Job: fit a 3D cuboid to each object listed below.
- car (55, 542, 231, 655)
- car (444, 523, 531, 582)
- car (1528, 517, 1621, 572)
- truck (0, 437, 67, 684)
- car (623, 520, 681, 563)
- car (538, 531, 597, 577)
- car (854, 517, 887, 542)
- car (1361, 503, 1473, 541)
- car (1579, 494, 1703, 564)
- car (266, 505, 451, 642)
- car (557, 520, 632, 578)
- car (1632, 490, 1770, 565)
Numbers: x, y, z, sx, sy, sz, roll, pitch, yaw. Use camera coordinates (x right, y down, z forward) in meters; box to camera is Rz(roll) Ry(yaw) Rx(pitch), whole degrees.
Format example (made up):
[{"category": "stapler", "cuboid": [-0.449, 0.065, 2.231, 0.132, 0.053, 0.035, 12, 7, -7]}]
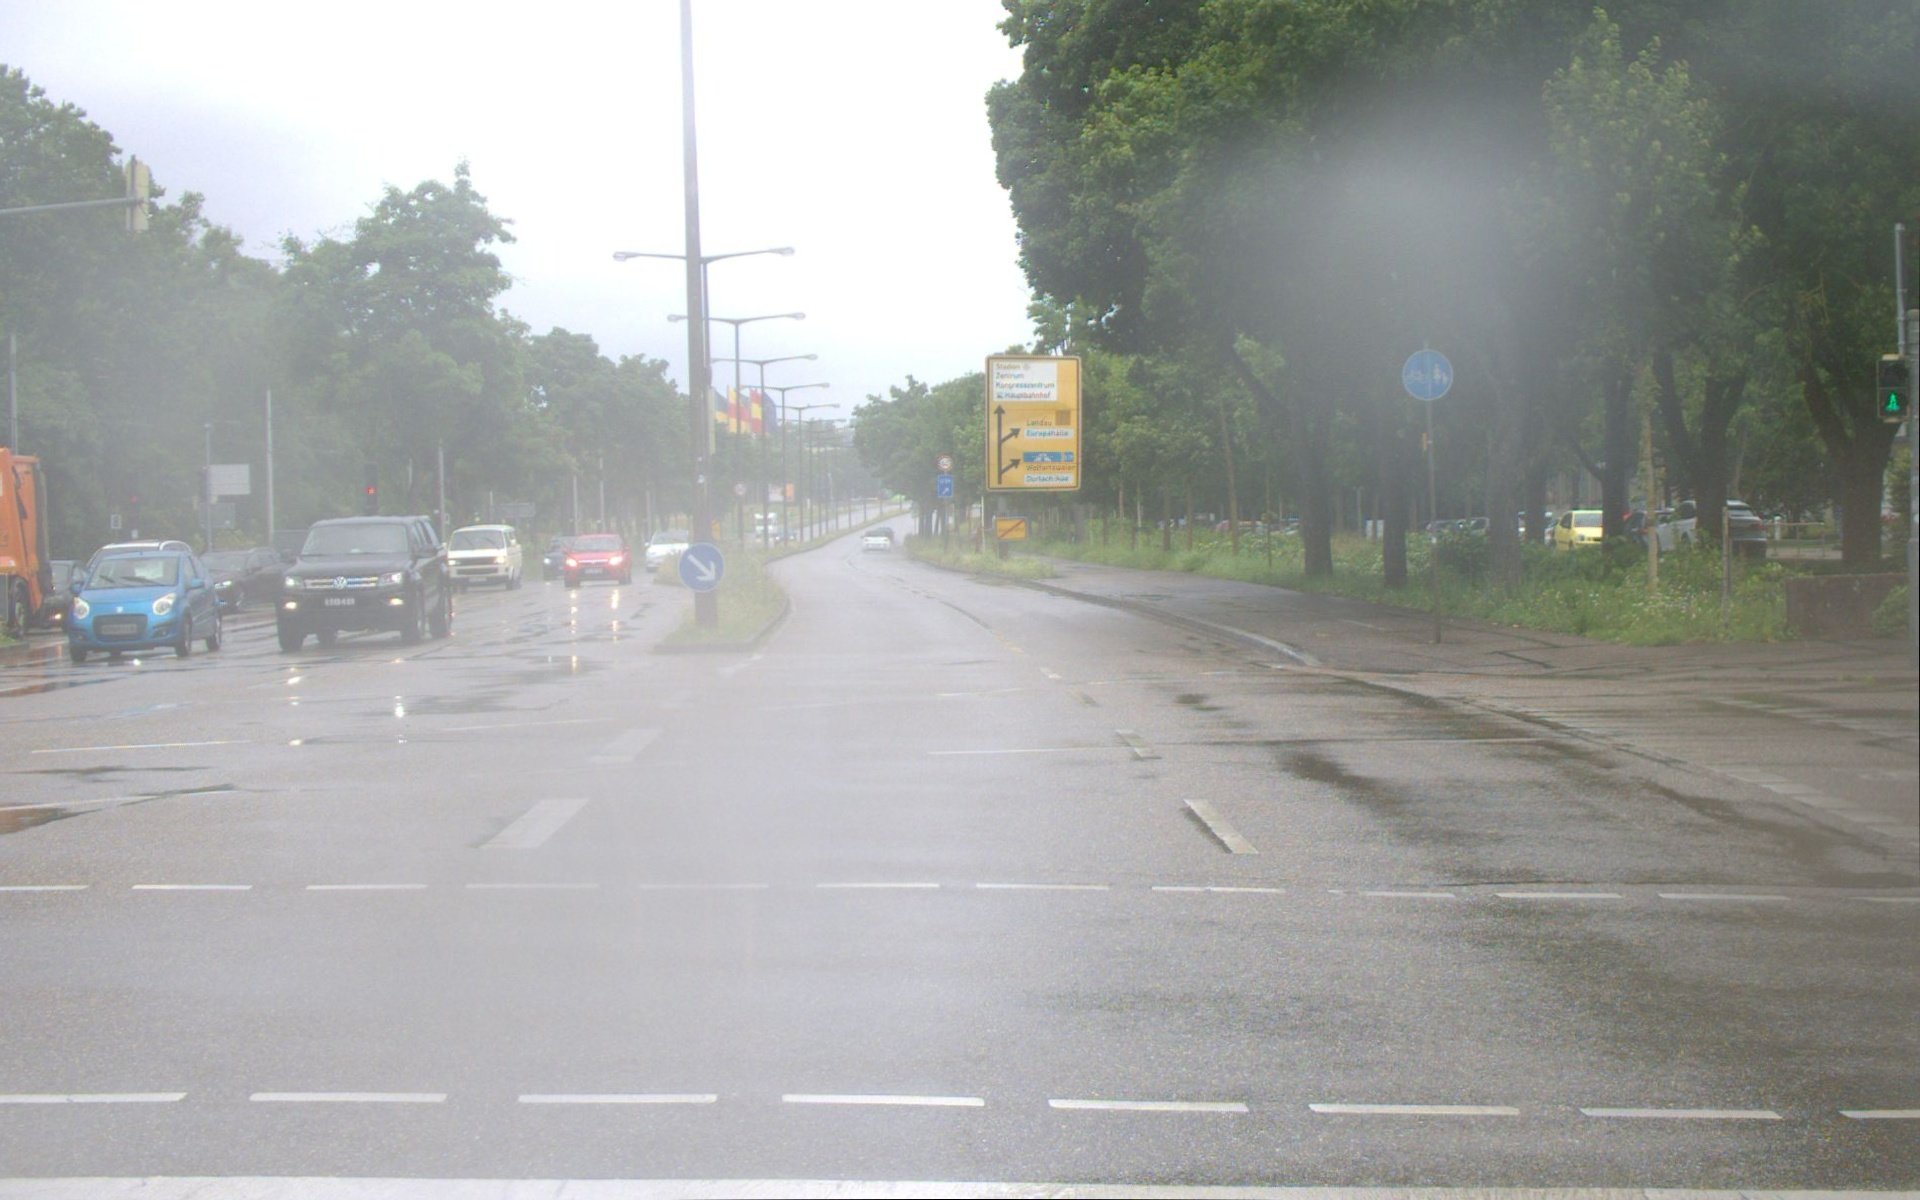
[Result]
[{"category": "car", "cuboid": [-11.346, -0.042, 47.949, 1.641, 1.422, 4.001, -3, 1, -3]}, {"category": "car", "cuboid": [-13.510, -1.369, 98.435, 1.894, 1.605, 4.500, -1, 1, -1]}, {"category": "car", "cuboid": [17.227, -1.559, 96.569, 1.637, 1.481, 4.073, 1, 1, -3]}, {"category": "truck", "cuboid": [-17.820, -0.680, 57.306, 3.384, 4.153, 10.407, 1, 1, -1]}, {"category": "car", "cuboid": [-12.222, -2.337, 136.646, 1.961, 1.611, 4.698, -2, 1, -2]}, {"category": "car", "cuboid": [-14.801, -1.756, 129.837, 1.707, 1.636, 4.331, -3, 1, -1]}, {"category": "car", "cuboid": [-5.380, -4.254, 207.290, 1.907, 1.509, 4.000, -1, 1, -1]}, {"category": "car", "cuboid": [20.398, -3.468, 153.479, 4.568, 1.639, 2.000, 1, 1, -7]}, {"category": "car", "cuboid": [17.507, -1.824, 88.629, 1.993, 1.711, 4.642, -2, 1, -3]}, {"category": "car", "cuboid": [-8.474, -0.411, 48.821, 1.805, 1.767, 5.090, -2, 1, -2]}, {"category": "car", "cuboid": [-10.613, -1.481, 100.096, 1.801, 1.564, 4.429, -3, 1, -2]}, {"category": "car", "cuboid": [17.856, -1.743, 83.093, 1.993, 1.711, 4.879, -2, 1, -3]}]
